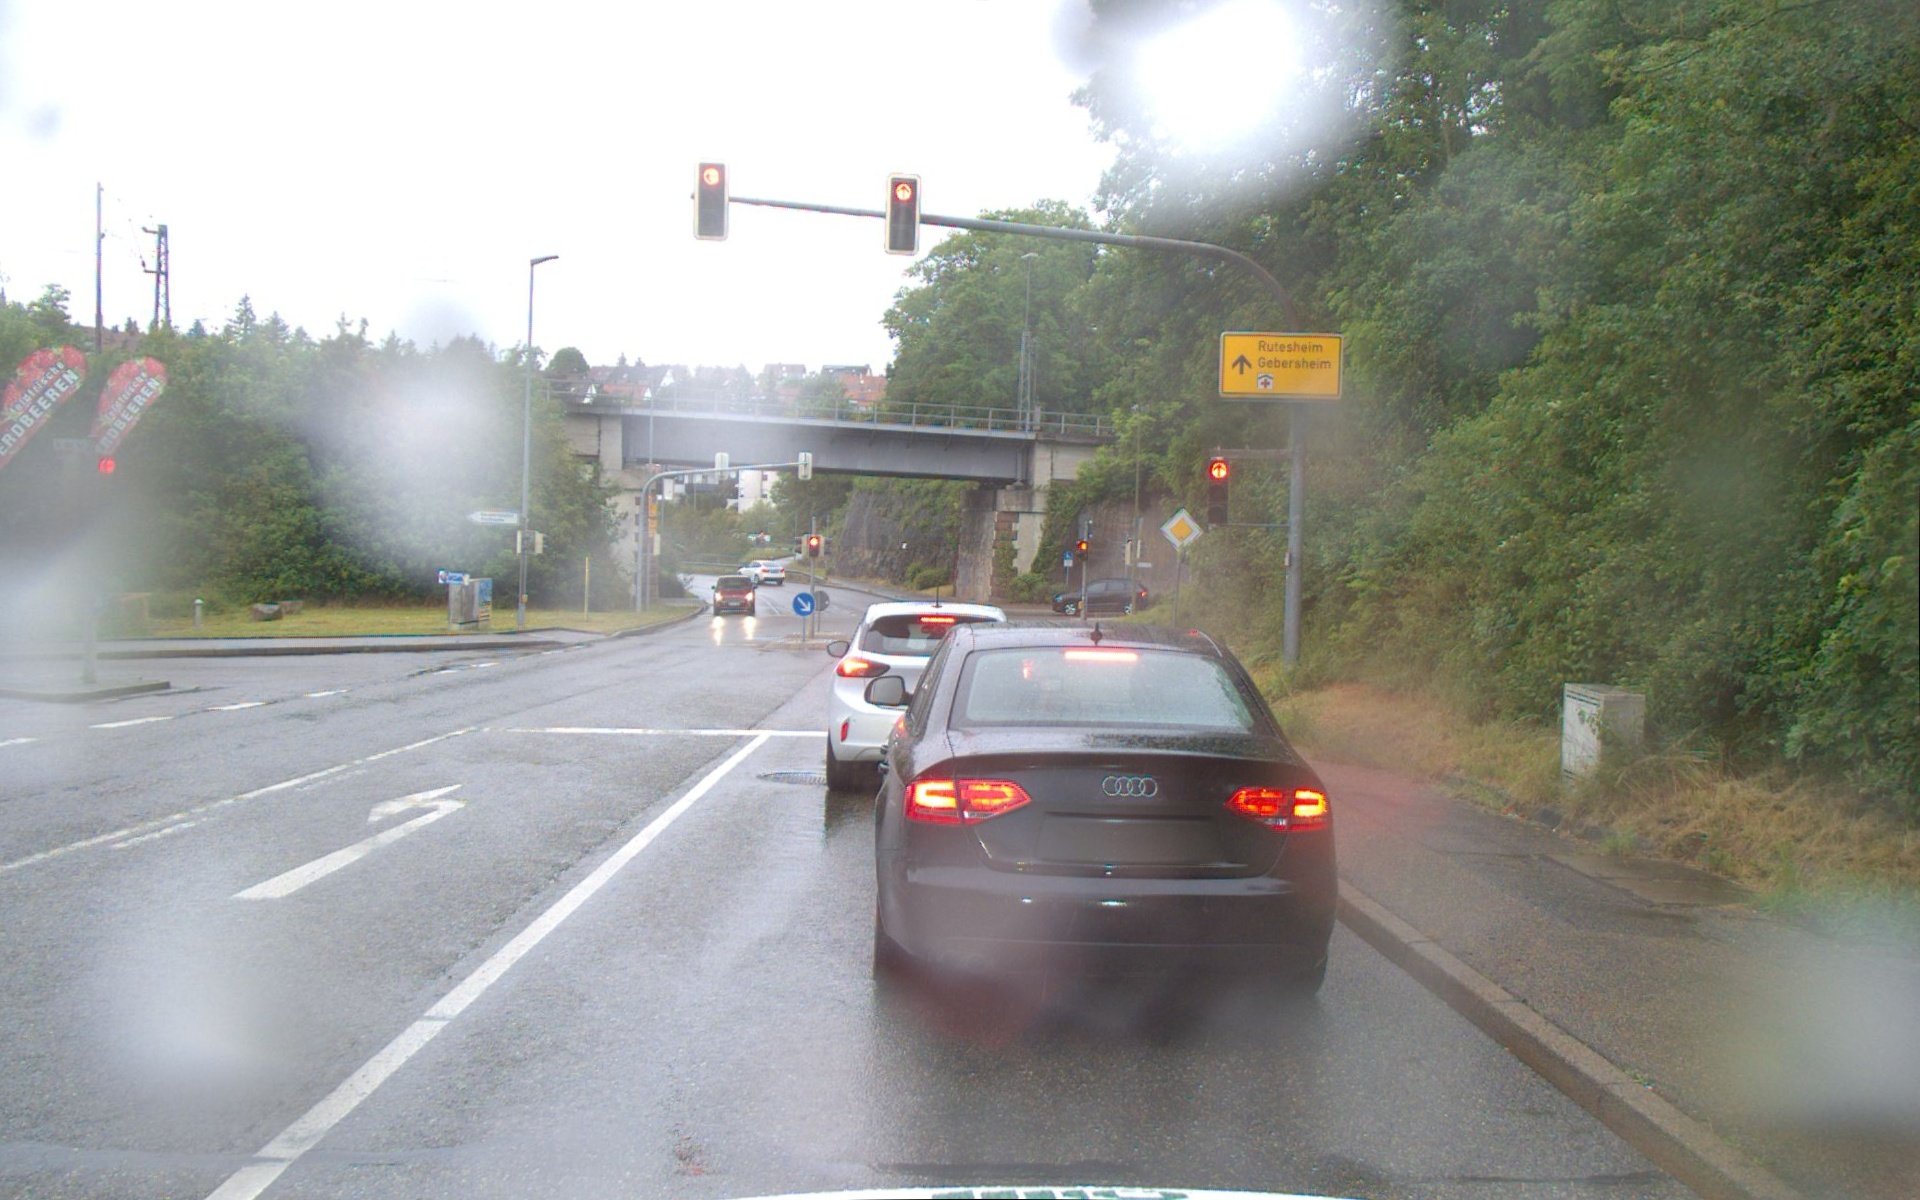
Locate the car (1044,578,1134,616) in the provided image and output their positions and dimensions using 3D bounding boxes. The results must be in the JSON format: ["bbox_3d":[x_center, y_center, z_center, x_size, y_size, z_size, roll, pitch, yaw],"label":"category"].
[{"bbox_3d":[5.690,-0.145,72.843,3.902,1.624,2.001,0,0,6],"label":"car"}]

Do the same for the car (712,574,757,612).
[{"bbox_3d":[-10.164,-0.309,74.748,1.956,1.657,3.993,0,0,-8],"label":"car"}]

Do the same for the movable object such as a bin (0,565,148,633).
[{"bbox_3d":[-23.922,-0.007,41.554,2.699,1.656,5.752,0,-1,39],"label":"movable object such as a bin"}]

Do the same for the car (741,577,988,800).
[{"bbox_3d":[-0.728,0.682,14.106,1.786,1.613,3.999,1,-1,-1],"label":"car"}]

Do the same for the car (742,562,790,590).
[{"bbox_3d":[-12.887,-1.566,109.497,1.782,1.773,4.443,1,-1,-26],"label":"car"}]

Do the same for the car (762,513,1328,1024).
[{"bbox_3d":[0.252,0.581,7.390,1.832,1.645,3.999,1,-1,-1],"label":"car"}]
